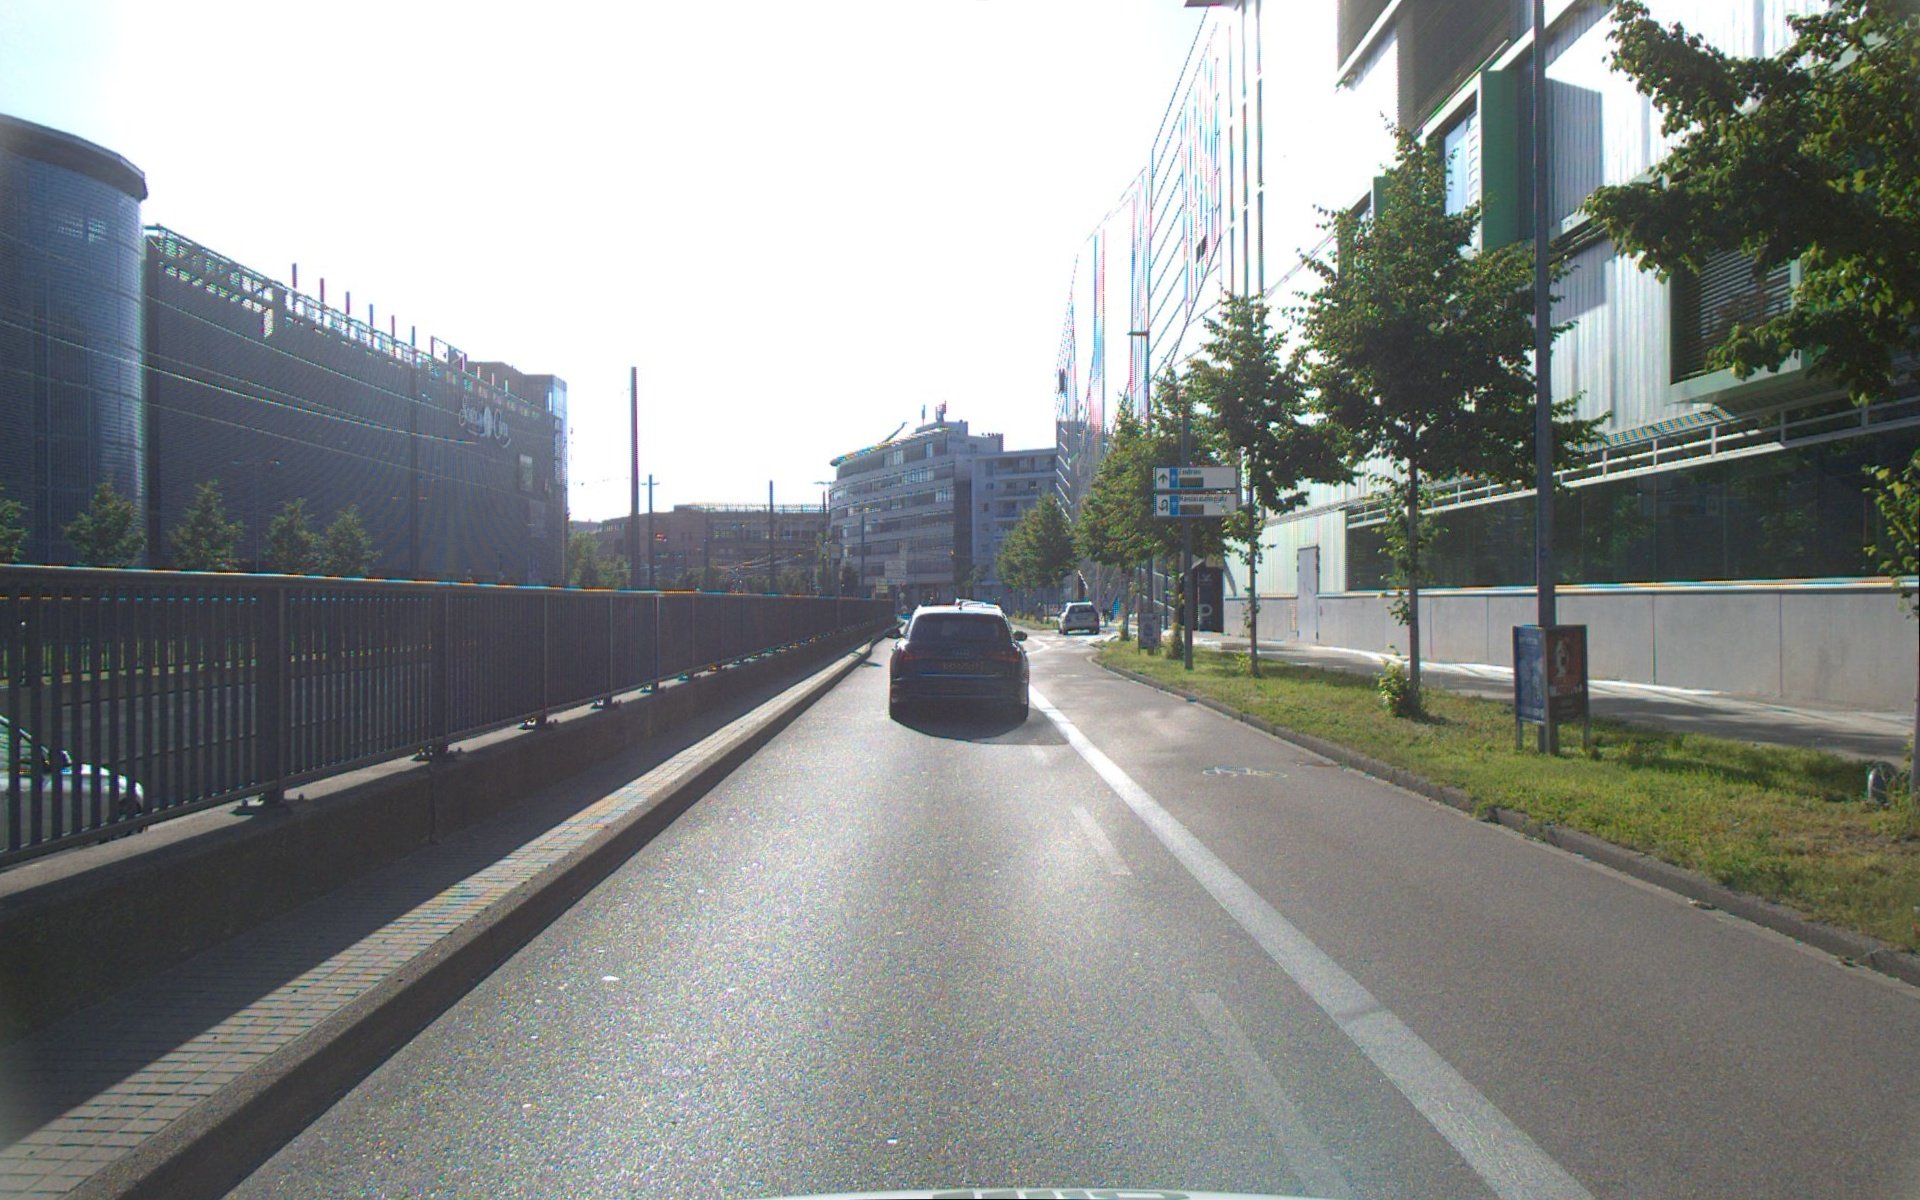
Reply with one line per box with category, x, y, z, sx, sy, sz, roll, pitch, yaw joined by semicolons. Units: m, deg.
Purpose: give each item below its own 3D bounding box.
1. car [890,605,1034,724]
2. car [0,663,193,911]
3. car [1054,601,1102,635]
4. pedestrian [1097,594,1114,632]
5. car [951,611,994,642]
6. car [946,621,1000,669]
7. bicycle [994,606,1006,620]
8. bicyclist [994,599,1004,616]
car;-0.033;0.810;22.842;1.776;1.452;4.688;-1;0;-2
car;-7.428;1.332;11.589;1.761;1.553;4.910;1;0;0
car;5.602;0.828;79.019;1.815;1.507;4.852;-2;0;-1
pedestrian;8.033;0.703;91.270;0.819;2.049;0.689;-1;0;0
car;0.641;1.407;87.940;1.954;1.491;3.996;0;1;-5
car;0.434;1.591;59.644;1.815;1.573;3.999;1;0;-1
bicycle;3.483;1.117;145.547;0.710;1.205;2.090;-2;0;-7
bicyclist;3.465;0.681;145.568;0.711;1.443;0.890;-2;0;-8
